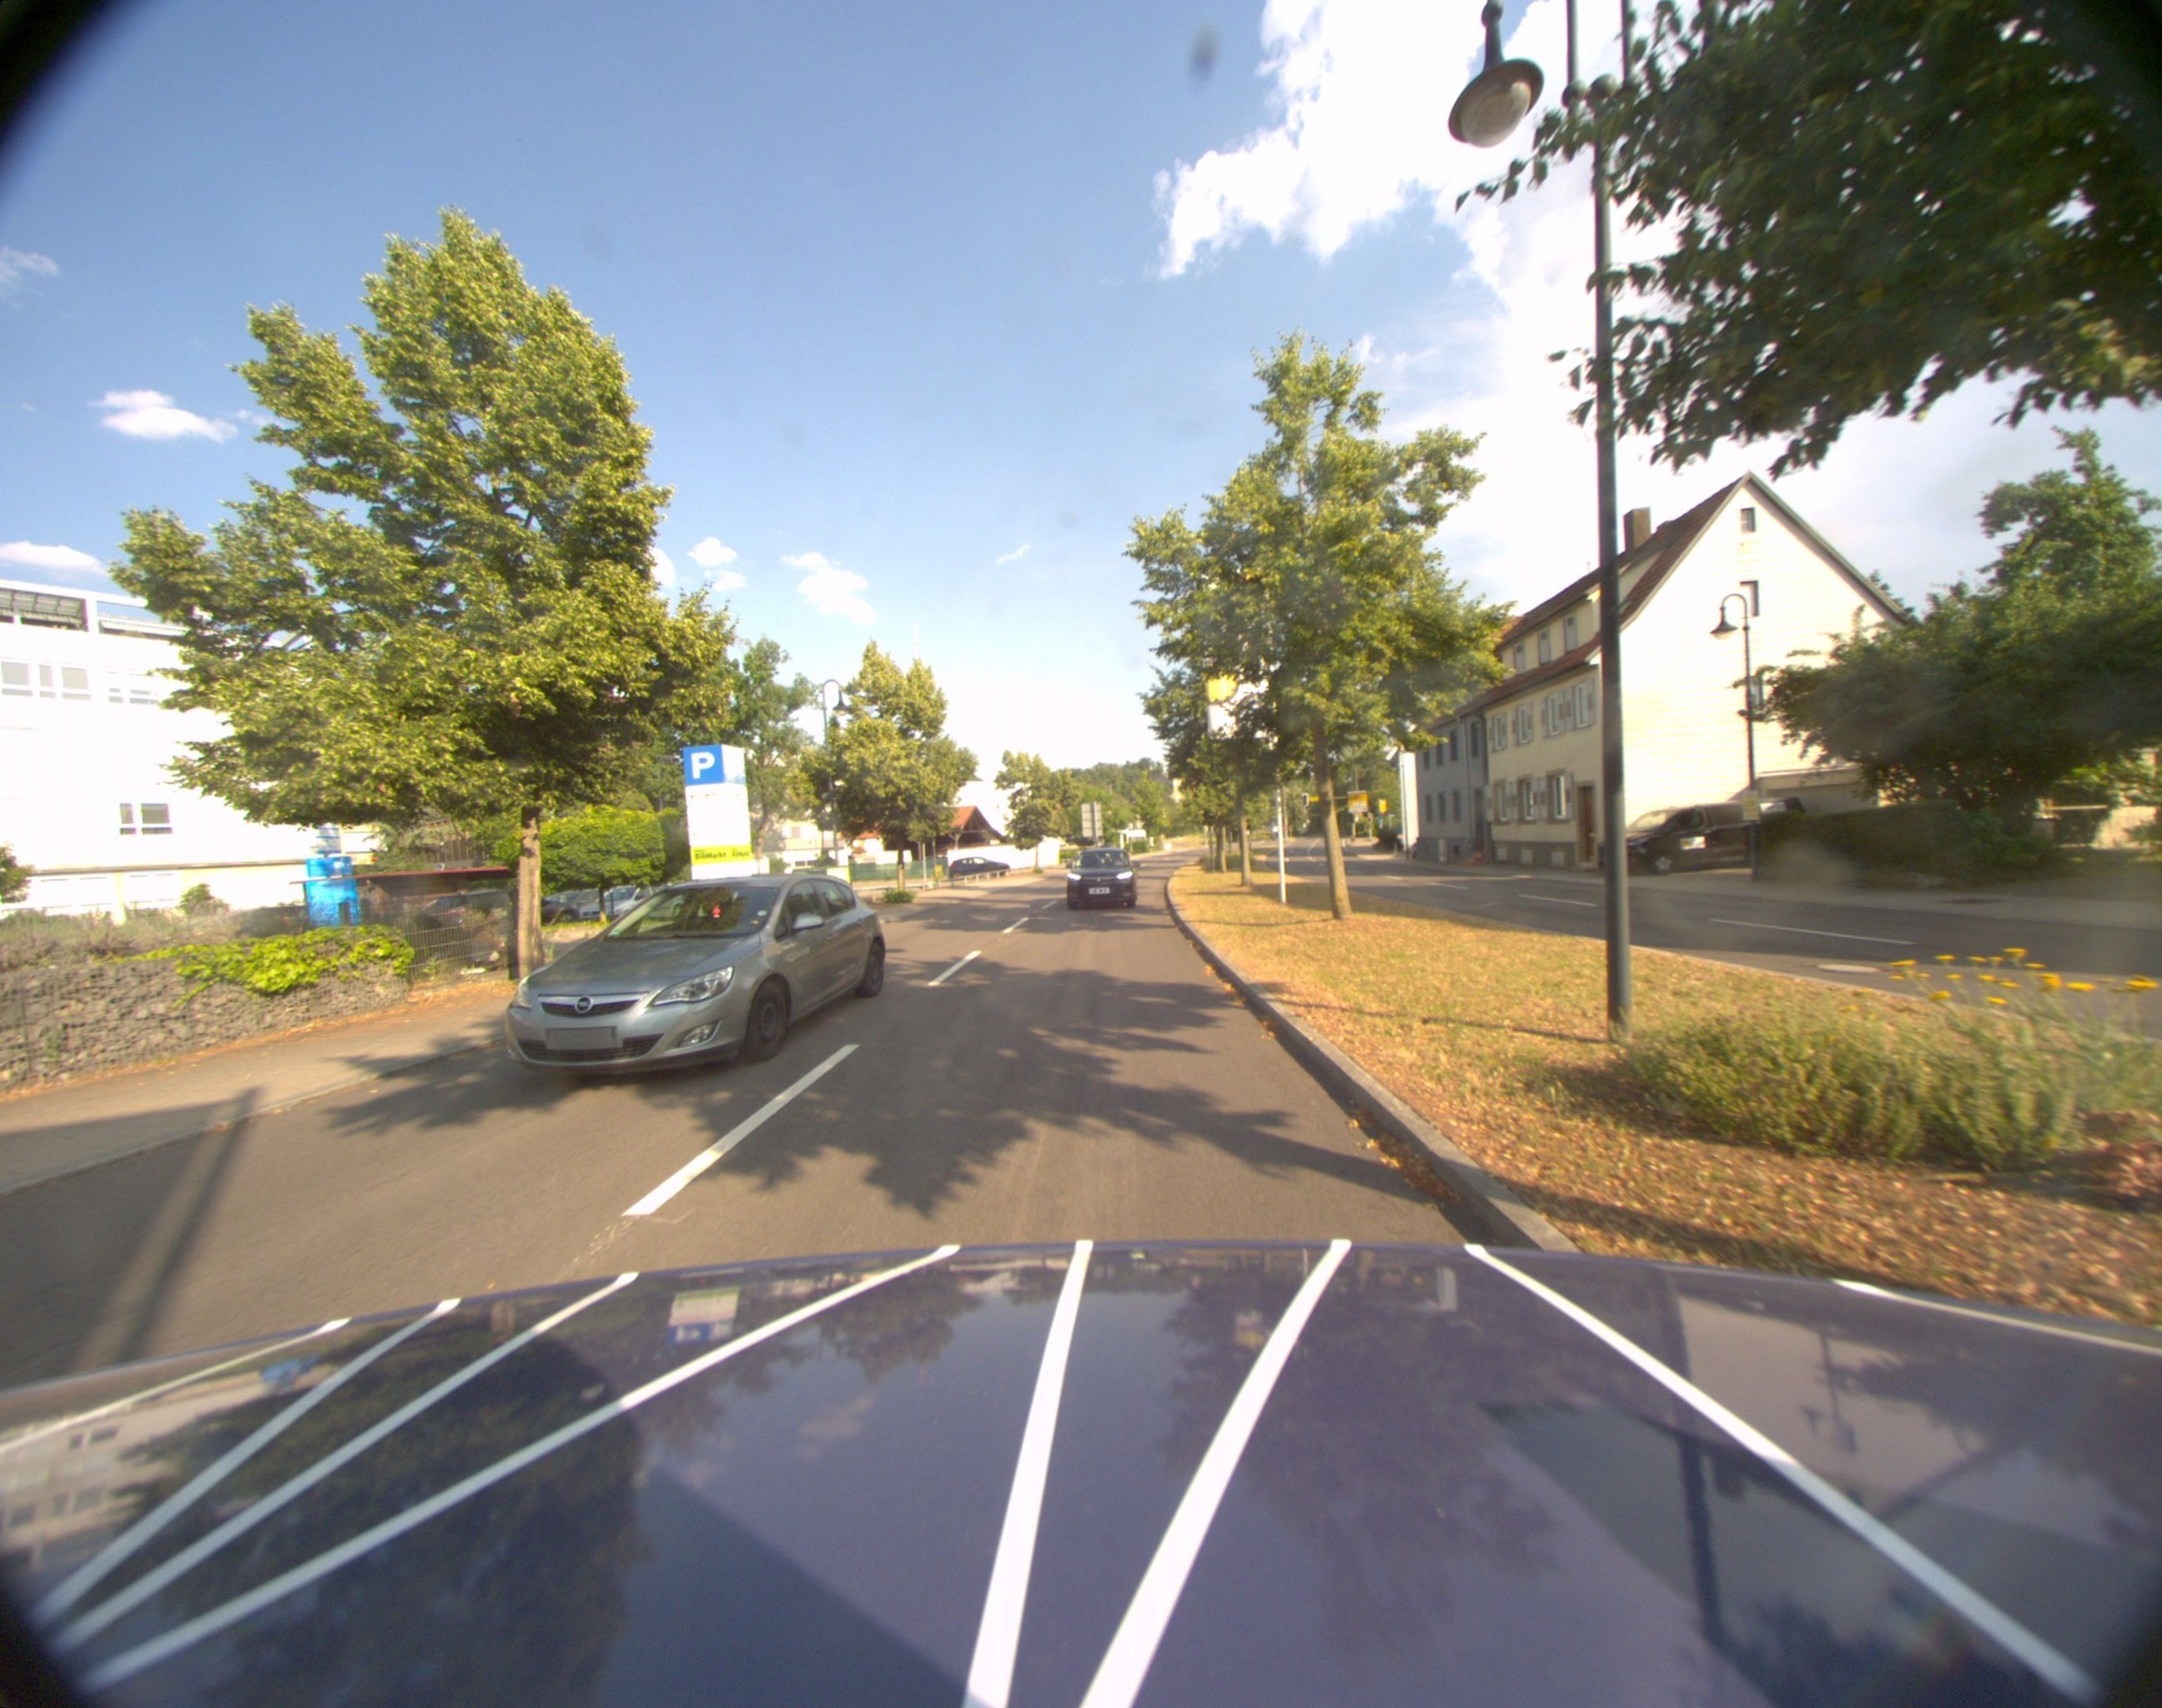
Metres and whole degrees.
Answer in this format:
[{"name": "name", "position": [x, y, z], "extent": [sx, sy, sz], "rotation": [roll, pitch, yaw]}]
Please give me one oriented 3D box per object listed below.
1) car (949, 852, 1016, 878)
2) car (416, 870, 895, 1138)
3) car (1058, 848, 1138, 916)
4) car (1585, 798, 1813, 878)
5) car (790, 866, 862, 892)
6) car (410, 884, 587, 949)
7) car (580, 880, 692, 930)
[{"name": "car", "position": [-6.359, 0.701, 49.260], "extent": [3.832, 1.412, 1.939], "rotation": [-4, 1, 9]}, {"name": "car", "position": [-3.191, 0.995, 6.897], "extent": [1.725, 1.481, 4.306], "rotation": [-3, 1, 2]}, {"name": "car", "position": [0.576, 0.683, 20.802], "extent": [1.724, 1.605, 4.263], "rotation": [-2, 1, 7]}, {"name": "car", "position": [18.194, -0.448, 22.607], "extent": [4.833, 1.866, 2.001], "rotation": [-5, 1, 9]}, {"name": "car", "position": [-16.710, 1.641, 49.875], "extent": [3.994, 1.412, 1.939], "rotation": [-4, 1, 9]}, {"name": "car", "position": [-16.681, 1.736, 22.013], "extent": [1.656, 1.454, 3.868], "rotation": [-3, 1, 10]}, {"name": "car", "position": [-15.586, 1.751, 26.801], "extent": [1.614, 1.391, 3.268], "rotation": [-4, 1, 9]}]
